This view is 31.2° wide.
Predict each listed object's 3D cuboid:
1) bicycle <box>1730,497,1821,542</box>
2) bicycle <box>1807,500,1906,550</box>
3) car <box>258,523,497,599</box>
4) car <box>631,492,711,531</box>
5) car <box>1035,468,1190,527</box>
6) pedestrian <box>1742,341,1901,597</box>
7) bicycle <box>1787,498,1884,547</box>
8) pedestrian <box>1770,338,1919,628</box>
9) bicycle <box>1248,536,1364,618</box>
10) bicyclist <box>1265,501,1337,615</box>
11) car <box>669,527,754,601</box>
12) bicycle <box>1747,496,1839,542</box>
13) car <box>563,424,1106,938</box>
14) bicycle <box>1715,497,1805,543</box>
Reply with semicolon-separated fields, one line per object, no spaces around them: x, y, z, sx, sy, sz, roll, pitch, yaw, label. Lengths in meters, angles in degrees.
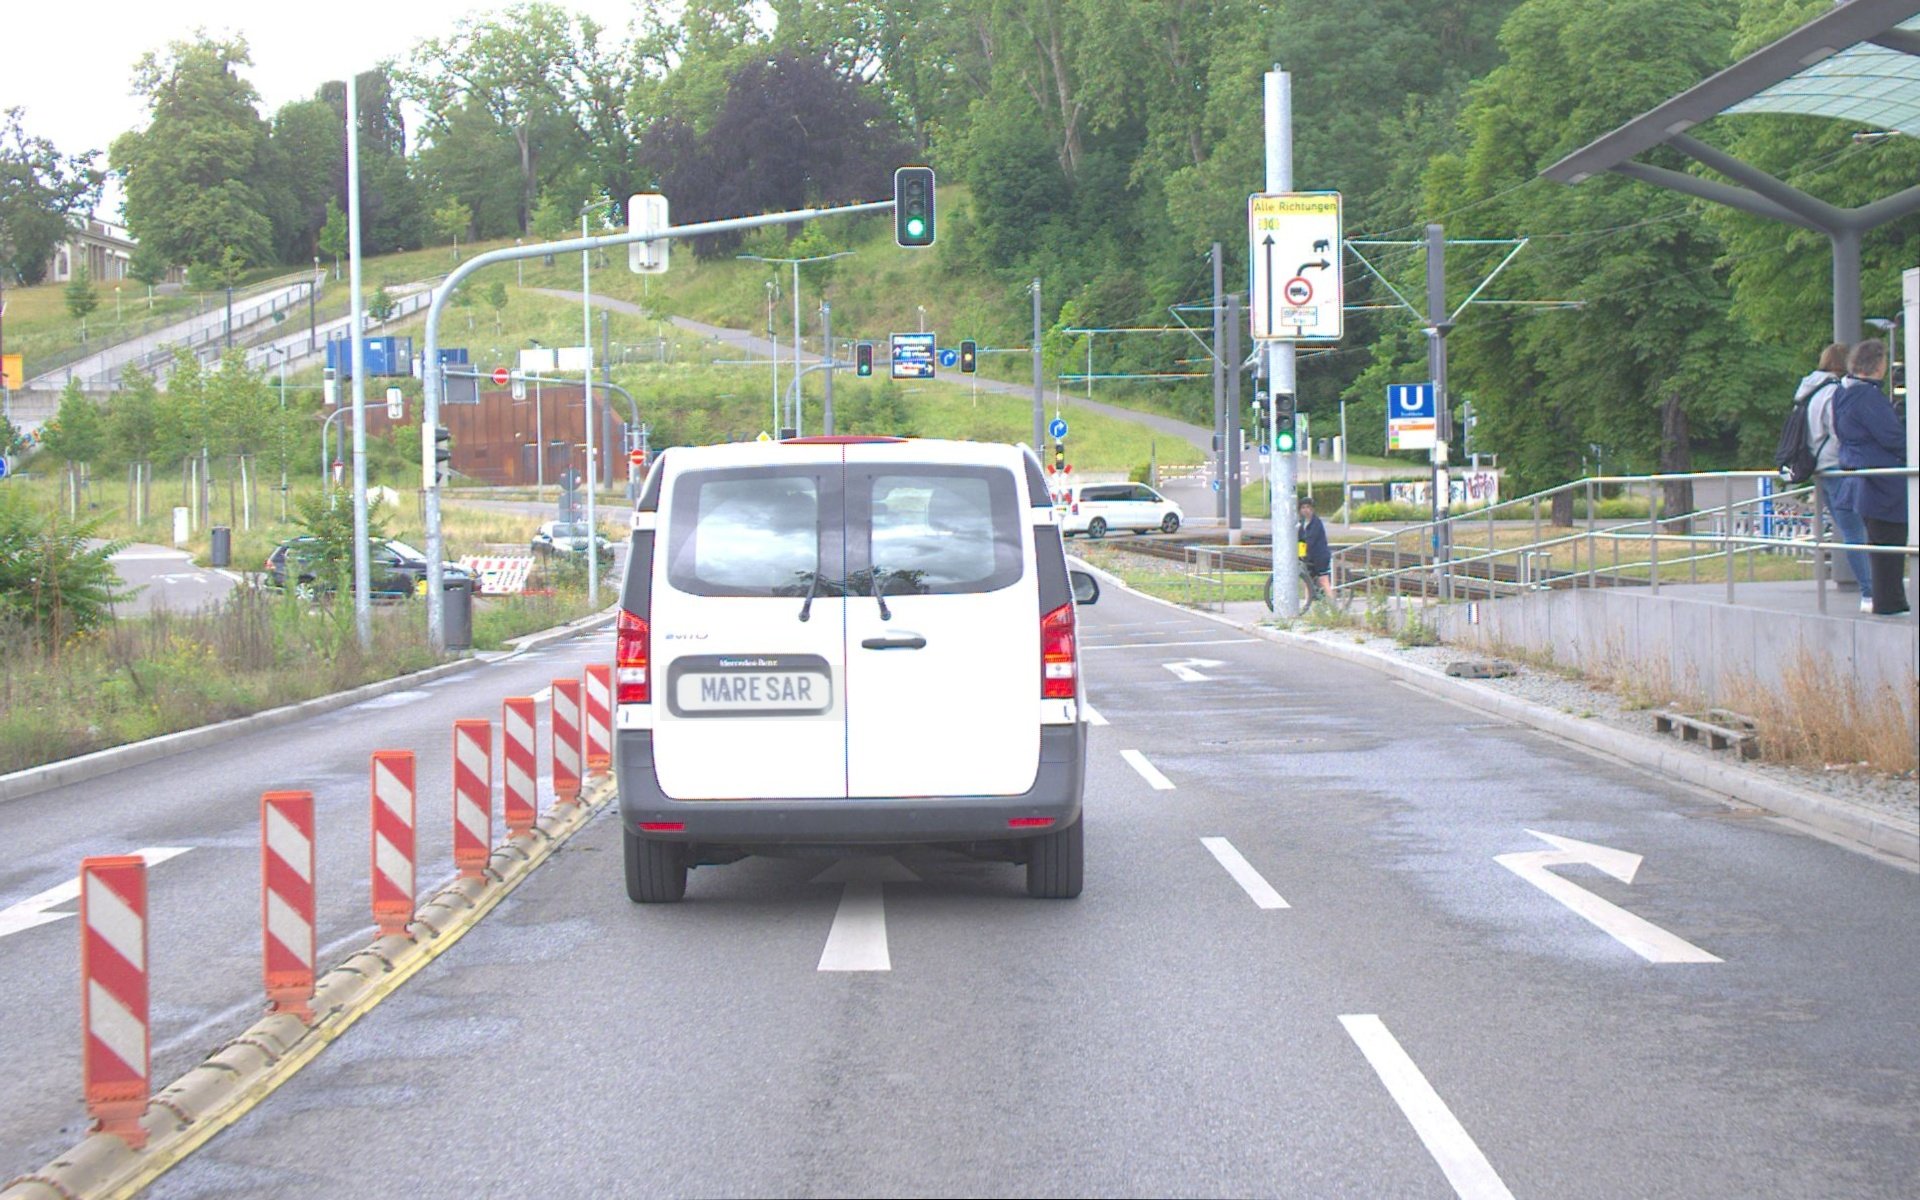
18.530;-1.828;78.144;1.912;0.972;0.531;-2;2;0;bicycle
18.775;-1.570;71.987;1.912;0.972;0.531;-2;2;0;bicycle
-12.712;-0.859;75.119;4.711;1.472;2.000;-1;3;10;car
-12.269;-3.748;145.895;1.937;1.621;4.001;-1;2;-28;car
5.288;-3.537;119.024;5.135;2.007;2.207;-1;2;-37;car
5.346;-0.821;21.374;0.750;1.548;0.775;1;3;1;pedestrian
18.738;-1.657;73.573;1.912;0.972;0.531;-2;2;0;bicycle
5.352;-0.709;20.604;0.770;1.693;0.731;1;3;1;pedestrian
4.866;-0.330;48.278;1.679;1.070;0.620;-3;4;-40;bicycle
4.781;-0.594;48.196;0.804;1.566;0.618;-3;4;-40;bicyclist
-5.329;-0.792;74.083;1.591;1.512;4.085;-2;1;-1;car
18.732;-1.816;77.330;1.912;0.972;0.531;-2;2;0;bicycle
-0.379;0.247;15.072;1.959;1.897;4.461;1;1;3;car
18.351;-1.835;78.870;1.912;0.972;0.531;-2;2;0;bicycle
